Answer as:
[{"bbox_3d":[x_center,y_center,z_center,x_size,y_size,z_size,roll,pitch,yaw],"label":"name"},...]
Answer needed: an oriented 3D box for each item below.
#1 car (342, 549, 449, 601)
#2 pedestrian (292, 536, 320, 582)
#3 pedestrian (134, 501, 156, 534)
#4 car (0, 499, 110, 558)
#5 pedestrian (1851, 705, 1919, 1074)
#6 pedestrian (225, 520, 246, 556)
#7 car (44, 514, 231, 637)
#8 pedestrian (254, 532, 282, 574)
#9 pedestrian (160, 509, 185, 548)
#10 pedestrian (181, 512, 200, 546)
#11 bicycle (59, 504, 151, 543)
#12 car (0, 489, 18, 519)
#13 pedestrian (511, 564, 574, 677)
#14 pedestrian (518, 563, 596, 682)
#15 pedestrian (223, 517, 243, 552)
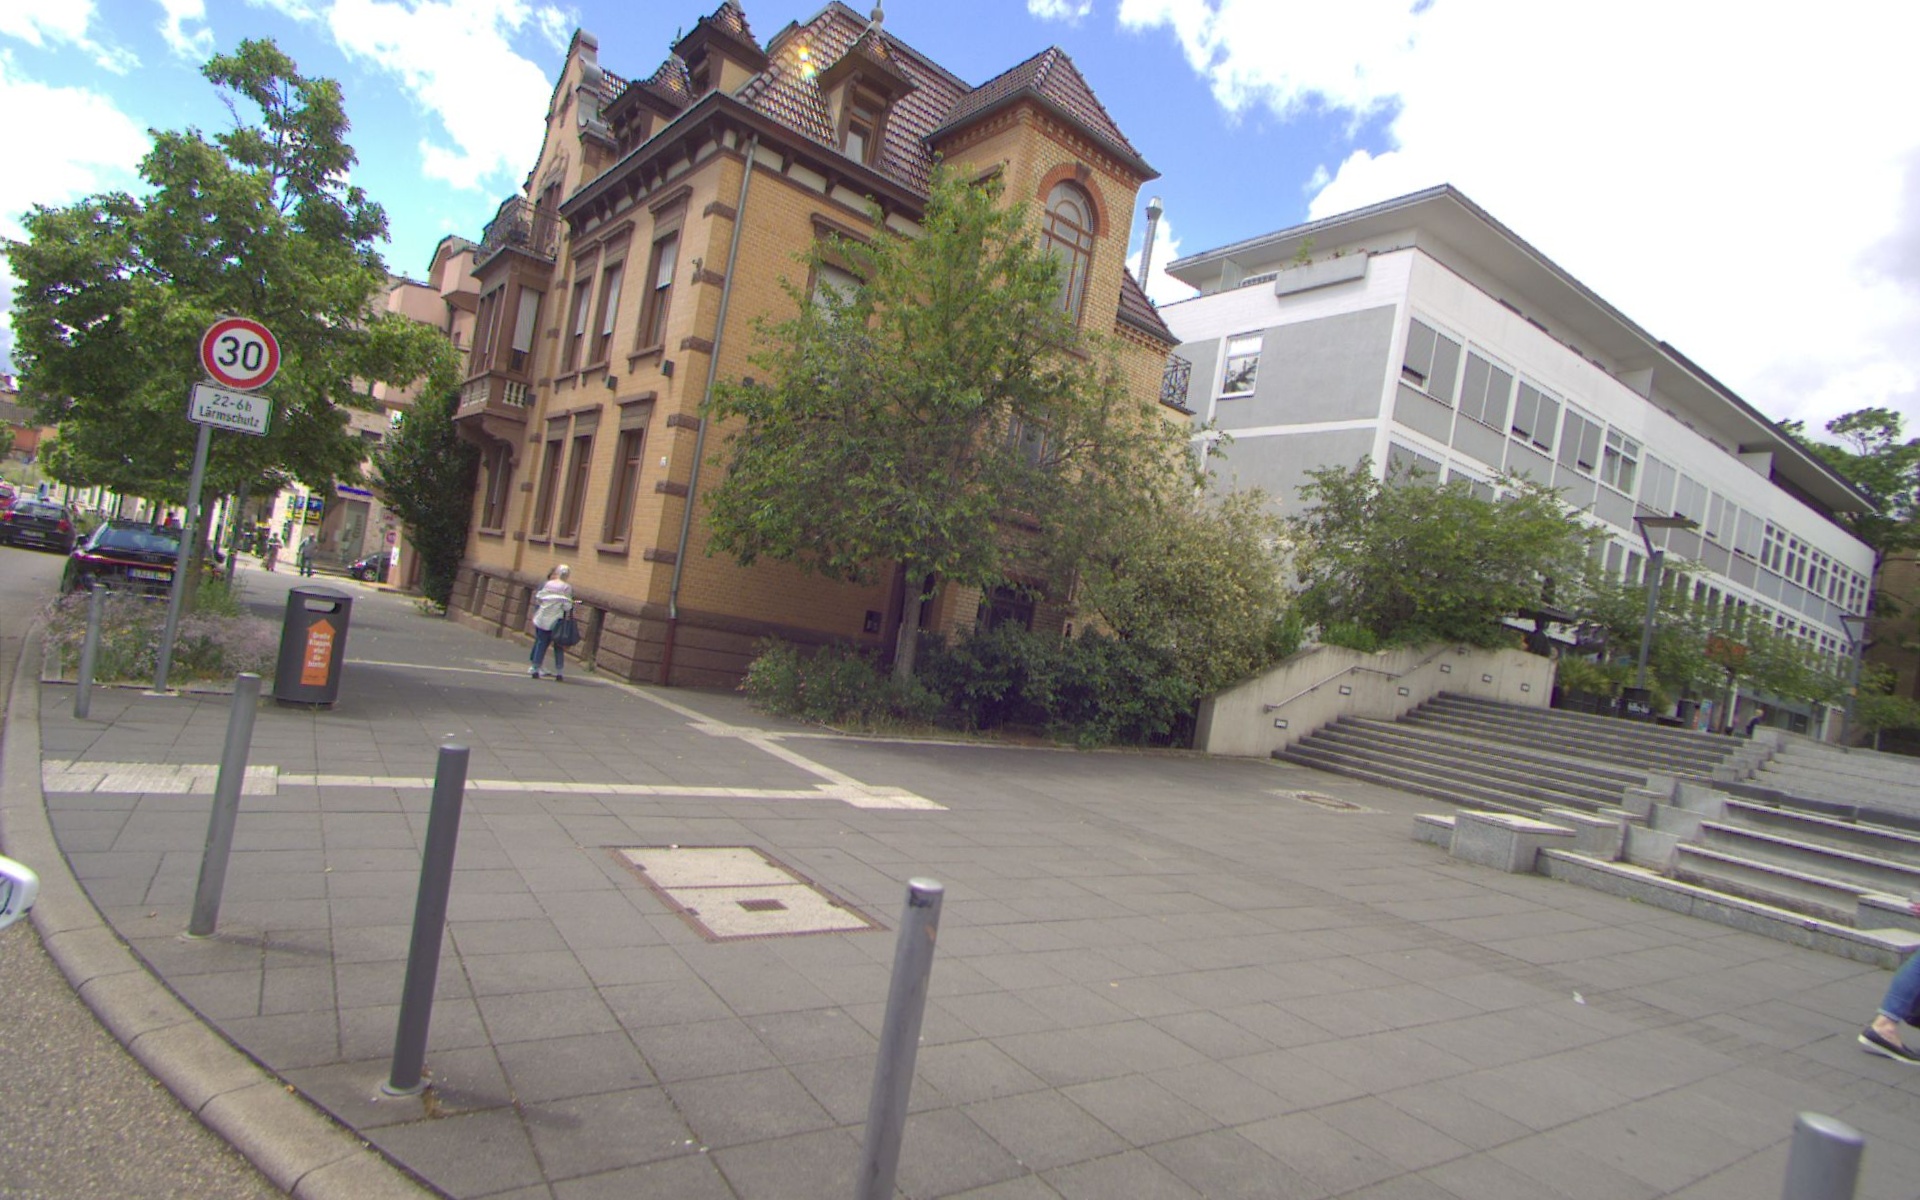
[{"bbox_3d":[-26.680,-1.170,47.617,3.982,1.581,1.825,15,-5,-41],"label":"car"},{"bbox_3d":[-24.663,-1.542,37.927,0.629,1.644,0.692,10,-2,-38],"label":"pedestrian"},{"bbox_3d":[-45.179,-4.566,55.763,0.558,1.701,0.560,8,-1,28],"label":"pedestrian"},{"bbox_3d":[-27.225,-2.105,30.179,1.595,1.398,3.812,9,-2,-26],"label":"car"},{"bbox_3d":[5.104,1.458,4.968,0.764,1.766,0.706,8,0,33],"label":"pedestrian"},{"bbox_3d":[-36.168,-3.086,50.227,0.557,1.710,0.631,10,-2,-43],"label":"pedestrian"},{"bbox_3d":[-12.588,-0.438,15.511,1.849,1.422,4.328,9,-2,-39],"label":"car"},{"bbox_3d":[-28.738,-1.953,41.772,0.709,1.580,0.561,10,-2,-43],"label":"pedestrian"},{"bbox_3d":[-37.259,-3.365,47.589,0.560,1.701,0.662,8,-2,42],"label":"pedestrian"},{"bbox_3d":[-40.672,-3.769,53.162,0.557,1.701,0.561,10,-2,-43],"label":"pedestrian"},{"bbox_3d":[-38.723,-3.452,45.620,0.701,1.159,3.055,7,-3,45],"label":"bicycle"},{"bbox_3d":[-50.376,-5.144,52.233,3.781,1.398,1.608,7,-2,40],"label":"car"},{"bbox_3d":[-6.365,0.315,15.343,0.502,1.648,0.504,7,-1,38],"label":"pedestrian"},{"bbox_3d":[-5.928,0.334,14.812,0.665,1.648,0.554,7,-1,22],"label":"pedestrian"},{"bbox_3d":[-37.575,-3.374,51.979,0.557,1.701,0.561,10,-2,-43],"label":"pedestrian"}]
